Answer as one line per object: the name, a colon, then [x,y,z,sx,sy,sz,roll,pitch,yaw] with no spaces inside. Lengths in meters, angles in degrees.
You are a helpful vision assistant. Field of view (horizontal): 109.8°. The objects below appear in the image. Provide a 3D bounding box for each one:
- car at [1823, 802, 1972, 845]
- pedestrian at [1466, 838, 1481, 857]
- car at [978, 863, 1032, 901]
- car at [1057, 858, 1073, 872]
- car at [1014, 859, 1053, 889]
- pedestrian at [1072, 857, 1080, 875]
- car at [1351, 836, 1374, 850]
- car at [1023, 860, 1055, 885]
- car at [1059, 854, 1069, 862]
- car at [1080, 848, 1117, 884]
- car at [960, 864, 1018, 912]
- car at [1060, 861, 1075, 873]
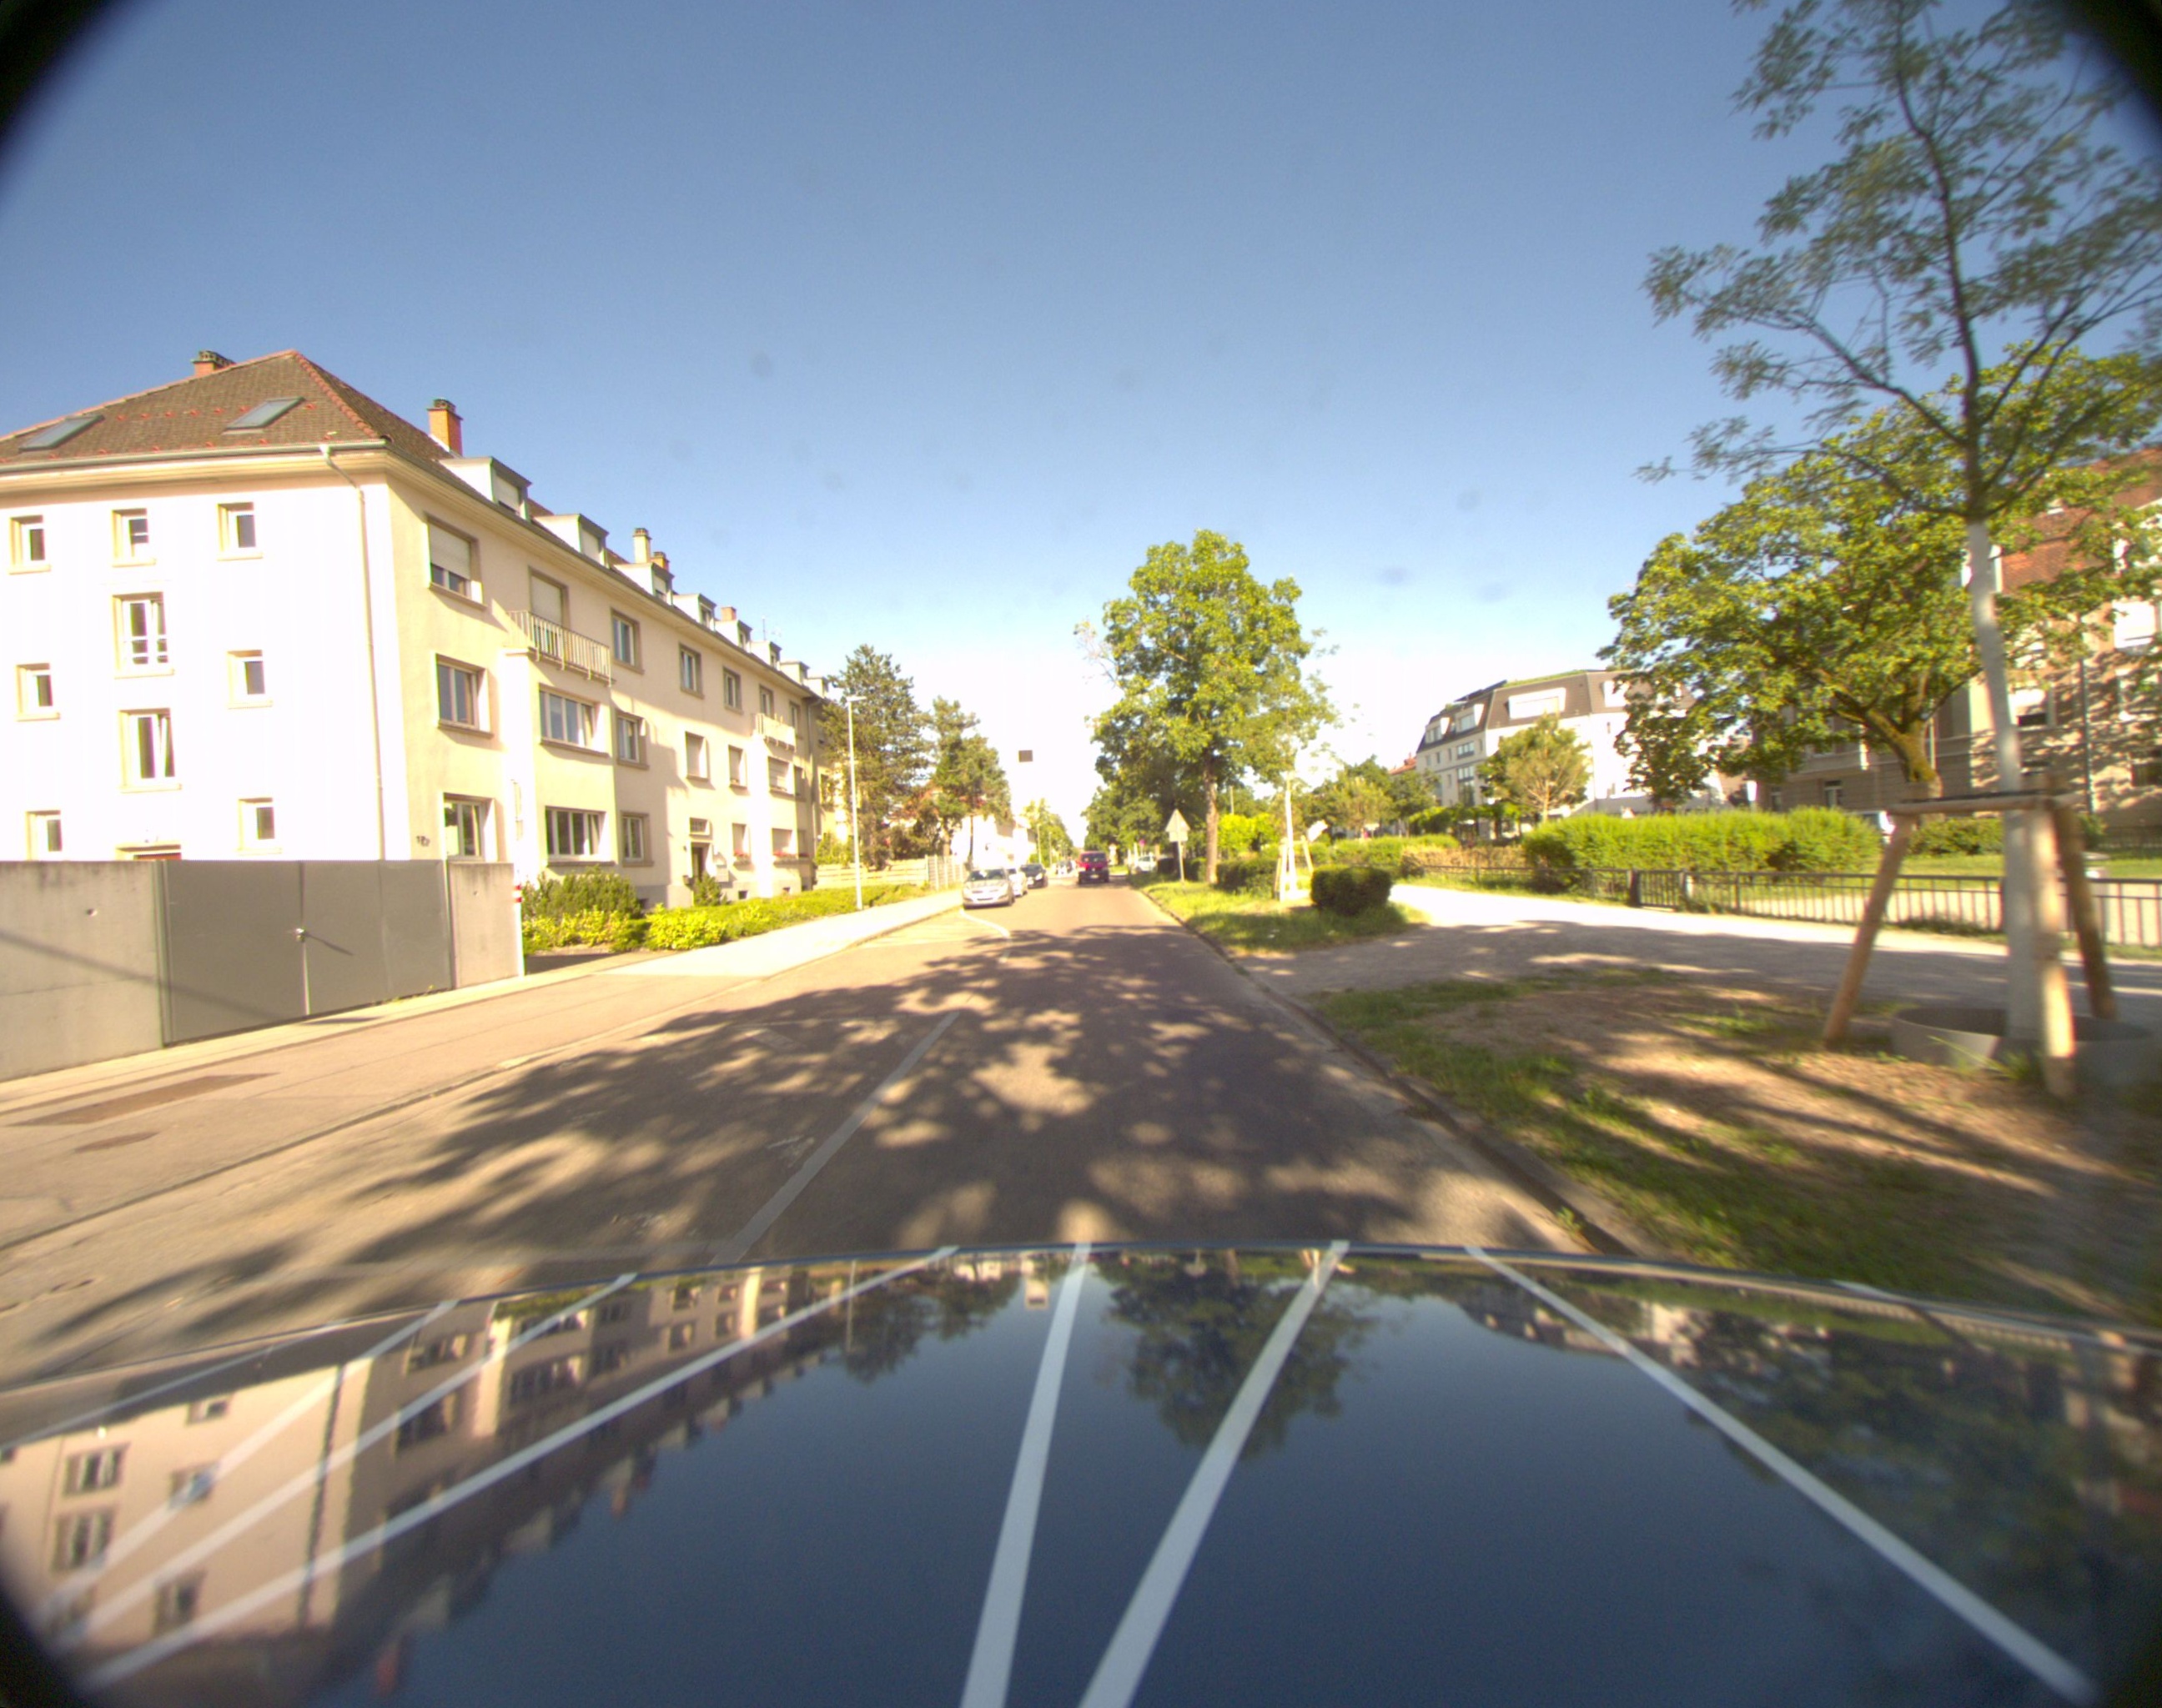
car: [36.814,-1.323,34.468,1.798,1.625,4.588,-4,0,2]
pedestrian: [26.199,-0.458,50.740,0.649,1.231,0.650,-4,0,7]
car: [-3.360,1.204,34.293,1.798,1.412,4.289,-5,0,1]
car: [-1.963,1.371,93.421,1.799,1.529,4.001,-3,-2,1]
car: [-2.727,1.119,44.481,1.798,1.501,3.995,-5,0,1]
pedestrian: [-0.497,1.181,72.781,0.650,1.658,0.649,-2,2,-8]
car: [41.153,-1.603,111.212,1.941,2.017,4.407,-2,0,3]
car: [-2.736,1.197,50.615,1.676,1.414,4.134,-5,0,1]
car: [-3.436,0.838,156.983,1.799,1.529,4.001,-3,-2,1]
car: [1.053,0.693,46.601,2.092,2.000,4.844,1,0,1]
car: [-3.285,1.171,27.864,1.664,1.456,4.410,-5,0,-3]
car: [-1.872,1.822,104.219,1.799,1.529,4.001,-3,-2,1]
